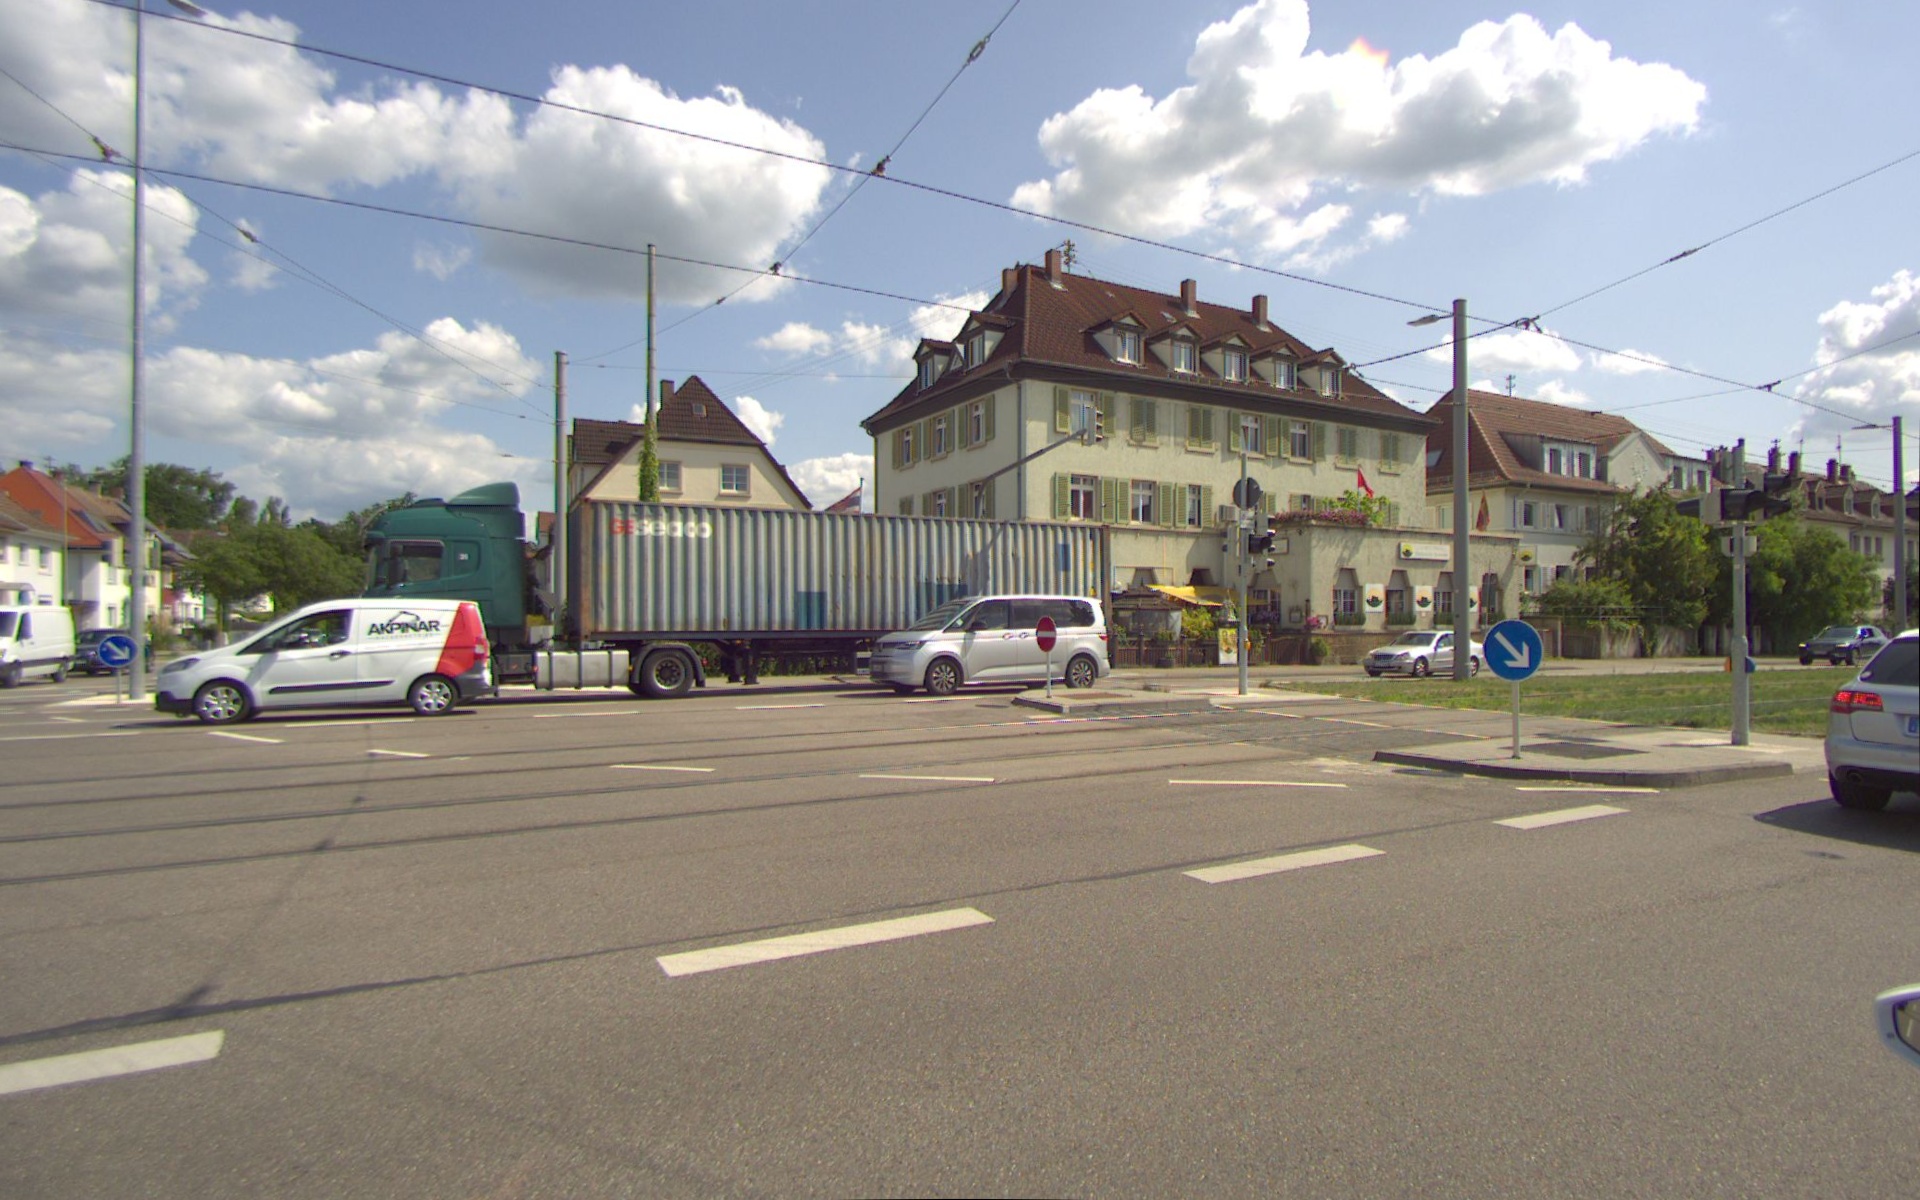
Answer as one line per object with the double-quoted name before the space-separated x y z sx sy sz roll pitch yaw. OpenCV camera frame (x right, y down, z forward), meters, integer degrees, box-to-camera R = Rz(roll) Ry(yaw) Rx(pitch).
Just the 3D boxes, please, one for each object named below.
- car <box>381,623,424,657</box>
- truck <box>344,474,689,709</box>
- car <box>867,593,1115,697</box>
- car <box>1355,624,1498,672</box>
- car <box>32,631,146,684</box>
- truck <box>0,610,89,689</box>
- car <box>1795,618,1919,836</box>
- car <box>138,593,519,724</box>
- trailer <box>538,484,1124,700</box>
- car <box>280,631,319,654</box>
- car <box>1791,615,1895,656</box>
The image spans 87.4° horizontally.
"car" -30.298 2.139 54.695 1.975 1.617 3.970 1 0 -28
"truck" -8.243 -0.089 18.996 5.594 3.871 2.590 0 -3 -27
"car" 0.657 0.867 19.722 4.657 1.839 1.786 1 -2 -30
"car" 14.444 1.469 31.074 4.417 1.405 1.787 1 -2 -29
"car" -30.318 1.966 35.113 1.974 1.573 4.149 2 -1 -27
"truck" -27.340 1.335 29.078 1.668 1.947 6.163 1 0 -26
"car" 8.723 0.903 7.971 4.667 1.491 1.785 1 0 -31
"car" -8.898 0.812 14.618 4.415 1.658 1.788 1 -2 -28
"trailer" -2.327 -0.105 22.129 12.673 3.871 2.590 0 -3 -28
"car" -50.209 3.200 76.413 1.974 1.573 4.149 2 -1 -27
"car" 39.801 1.598 45.260 4.877 1.734 2.006 1 -2 -29
